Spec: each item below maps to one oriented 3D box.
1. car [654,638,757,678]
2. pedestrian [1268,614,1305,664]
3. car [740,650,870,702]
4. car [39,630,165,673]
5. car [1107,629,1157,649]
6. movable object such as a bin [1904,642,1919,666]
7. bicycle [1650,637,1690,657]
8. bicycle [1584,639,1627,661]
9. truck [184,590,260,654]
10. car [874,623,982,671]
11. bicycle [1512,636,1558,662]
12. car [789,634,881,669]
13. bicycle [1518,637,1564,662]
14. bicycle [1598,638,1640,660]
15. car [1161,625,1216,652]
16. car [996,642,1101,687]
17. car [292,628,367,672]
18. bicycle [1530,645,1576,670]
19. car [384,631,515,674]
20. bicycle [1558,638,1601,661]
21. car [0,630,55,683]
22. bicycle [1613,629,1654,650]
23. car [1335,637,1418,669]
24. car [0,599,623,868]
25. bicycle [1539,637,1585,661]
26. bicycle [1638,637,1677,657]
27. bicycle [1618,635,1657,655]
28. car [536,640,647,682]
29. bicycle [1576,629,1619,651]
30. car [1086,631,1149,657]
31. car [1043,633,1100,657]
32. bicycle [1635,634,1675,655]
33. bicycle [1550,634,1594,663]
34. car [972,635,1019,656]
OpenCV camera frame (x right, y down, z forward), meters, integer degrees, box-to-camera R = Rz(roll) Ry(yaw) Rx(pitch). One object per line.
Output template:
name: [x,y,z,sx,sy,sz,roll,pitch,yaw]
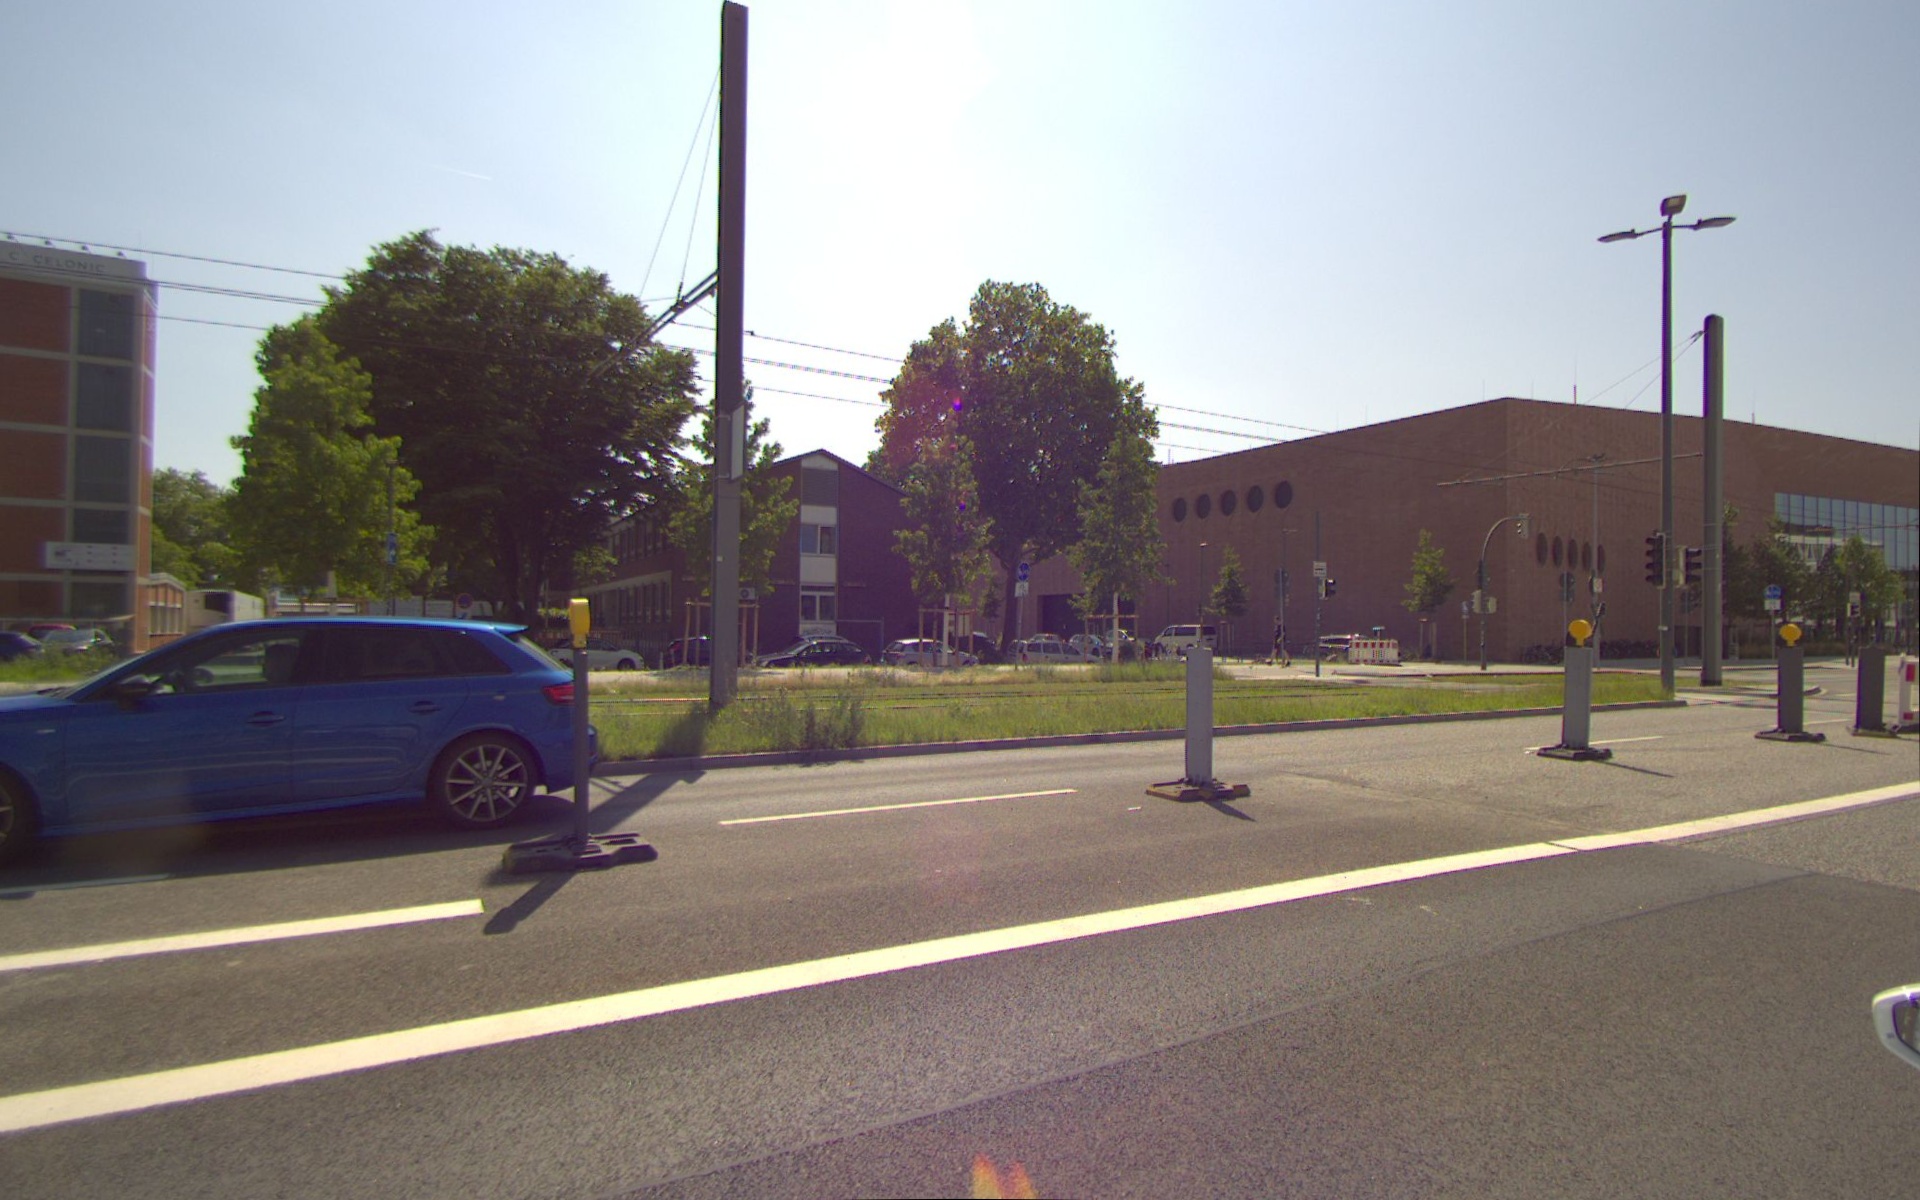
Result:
car: [-10.268,2.314,40.645,3.746,1.476,1.530,1,-1,-33]
pedestrian: [12.415,1.479,38.234,1.093,1.871,0.808,1,-1,-27]
car: [-5.751,2.810,37.514,4.477,1.784,1.690,2,-1,-30]
car: [-31.639,1.895,37.160,3.308,1.472,1.529,1,0,-31]
car: [12.424,2.783,72.621,1.693,1.339,3.480,2,-1,-30]
movable object such as a bin: [42.434,2.405,44.463,0.701,1.045,0.793,0,-1,24]
bicycle: [46.022,3.053,65.140,0.535,1.228,2.034,1,-1,-39]
bicycle: [37.785,2.914,58.824,0.535,1.228,2.034,1,-1,-39]
truck: [-52.596,1.423,71.934,2.855,4.136,12.542,1,0,-30]
car: [-1.245,1.879,39.671,3.892,1.784,1.691,2,-1,-29]
bicycle: [29.866,2.540,52.183,0.535,1.228,2.034,1,-1,-39]
car: [-5.533,2.244,44.474,3.742,1.476,1.531,1,-1,-30]
bicycle: [30.472,2.574,52.721,0.535,1.228,2.034,1,-1,-39]
bicycle: [39.567,2.945,60.328,0.535,1.228,2.034,1,-1,-39]
car: [15.348,2.542,67.559,1.673,1.712,3.528,1,-1,-29]
car: [3.811,2.762,42.897,4.250,1.784,1.690,2,-1,-30]
car: [-23.373,1.808,37.180,3.700,1.476,1.534,0,-1,44]
bicycle: [31.401,3.030,53.203,0.535,1.228,2.034,1,-1,-39]
car: [-18.809,1.893,37.103,4.216,1.476,1.531,1,-1,-30]
bicycle: [35.010,2.800,56.805,0.535,1.228,2.034,1,-1,-39]
car: [-31.689,1.802,32.282,3.600,1.612,1.756,1,0,-35]
bicycle: [41.299,2.396,61.569,0.535,1.228,2.034,1,-1,-39]
car: [19.971,2.502,48.244,1.555,1.388,3.462,1,-1,-30]
car: [-4.600,0.772,6.695,4.239,1.446,1.621,1,-3,-30]
bicycle: [32.295,2.626,53.901,0.535,1.228,2.033,1,-1,-41]
bicycle: [45.013,3.032,64.834,0.535,1.228,2.034,1,-1,-39]
bicycle: [42.208,2.784,62.569,0.740,1.228,1.871,1,-1,-36]
car: [-14.101,2.312,38.538,3.748,1.476,1.529,2,-1,-34]
bicycle: [36.841,2.300,58.098,0.535,1.228,2.034,1,-1,-39]
car: [9.615,2.689,61.623,1.972,1.421,3.977,2,-1,-24]
car: [7.281,2.947,65.828,1.972,1.421,3.977,2,-1,-24]
bicycle: [44.570,2.846,64.453,0.535,1.228,2.034,1,-1,-39]
bicycle: [33.569,2.648,55.099,0.535,1.472,2.034,1,-1,-39]
car: [2.597,3.366,74.354,1.972,1.421,3.977,2,-1,-24]
